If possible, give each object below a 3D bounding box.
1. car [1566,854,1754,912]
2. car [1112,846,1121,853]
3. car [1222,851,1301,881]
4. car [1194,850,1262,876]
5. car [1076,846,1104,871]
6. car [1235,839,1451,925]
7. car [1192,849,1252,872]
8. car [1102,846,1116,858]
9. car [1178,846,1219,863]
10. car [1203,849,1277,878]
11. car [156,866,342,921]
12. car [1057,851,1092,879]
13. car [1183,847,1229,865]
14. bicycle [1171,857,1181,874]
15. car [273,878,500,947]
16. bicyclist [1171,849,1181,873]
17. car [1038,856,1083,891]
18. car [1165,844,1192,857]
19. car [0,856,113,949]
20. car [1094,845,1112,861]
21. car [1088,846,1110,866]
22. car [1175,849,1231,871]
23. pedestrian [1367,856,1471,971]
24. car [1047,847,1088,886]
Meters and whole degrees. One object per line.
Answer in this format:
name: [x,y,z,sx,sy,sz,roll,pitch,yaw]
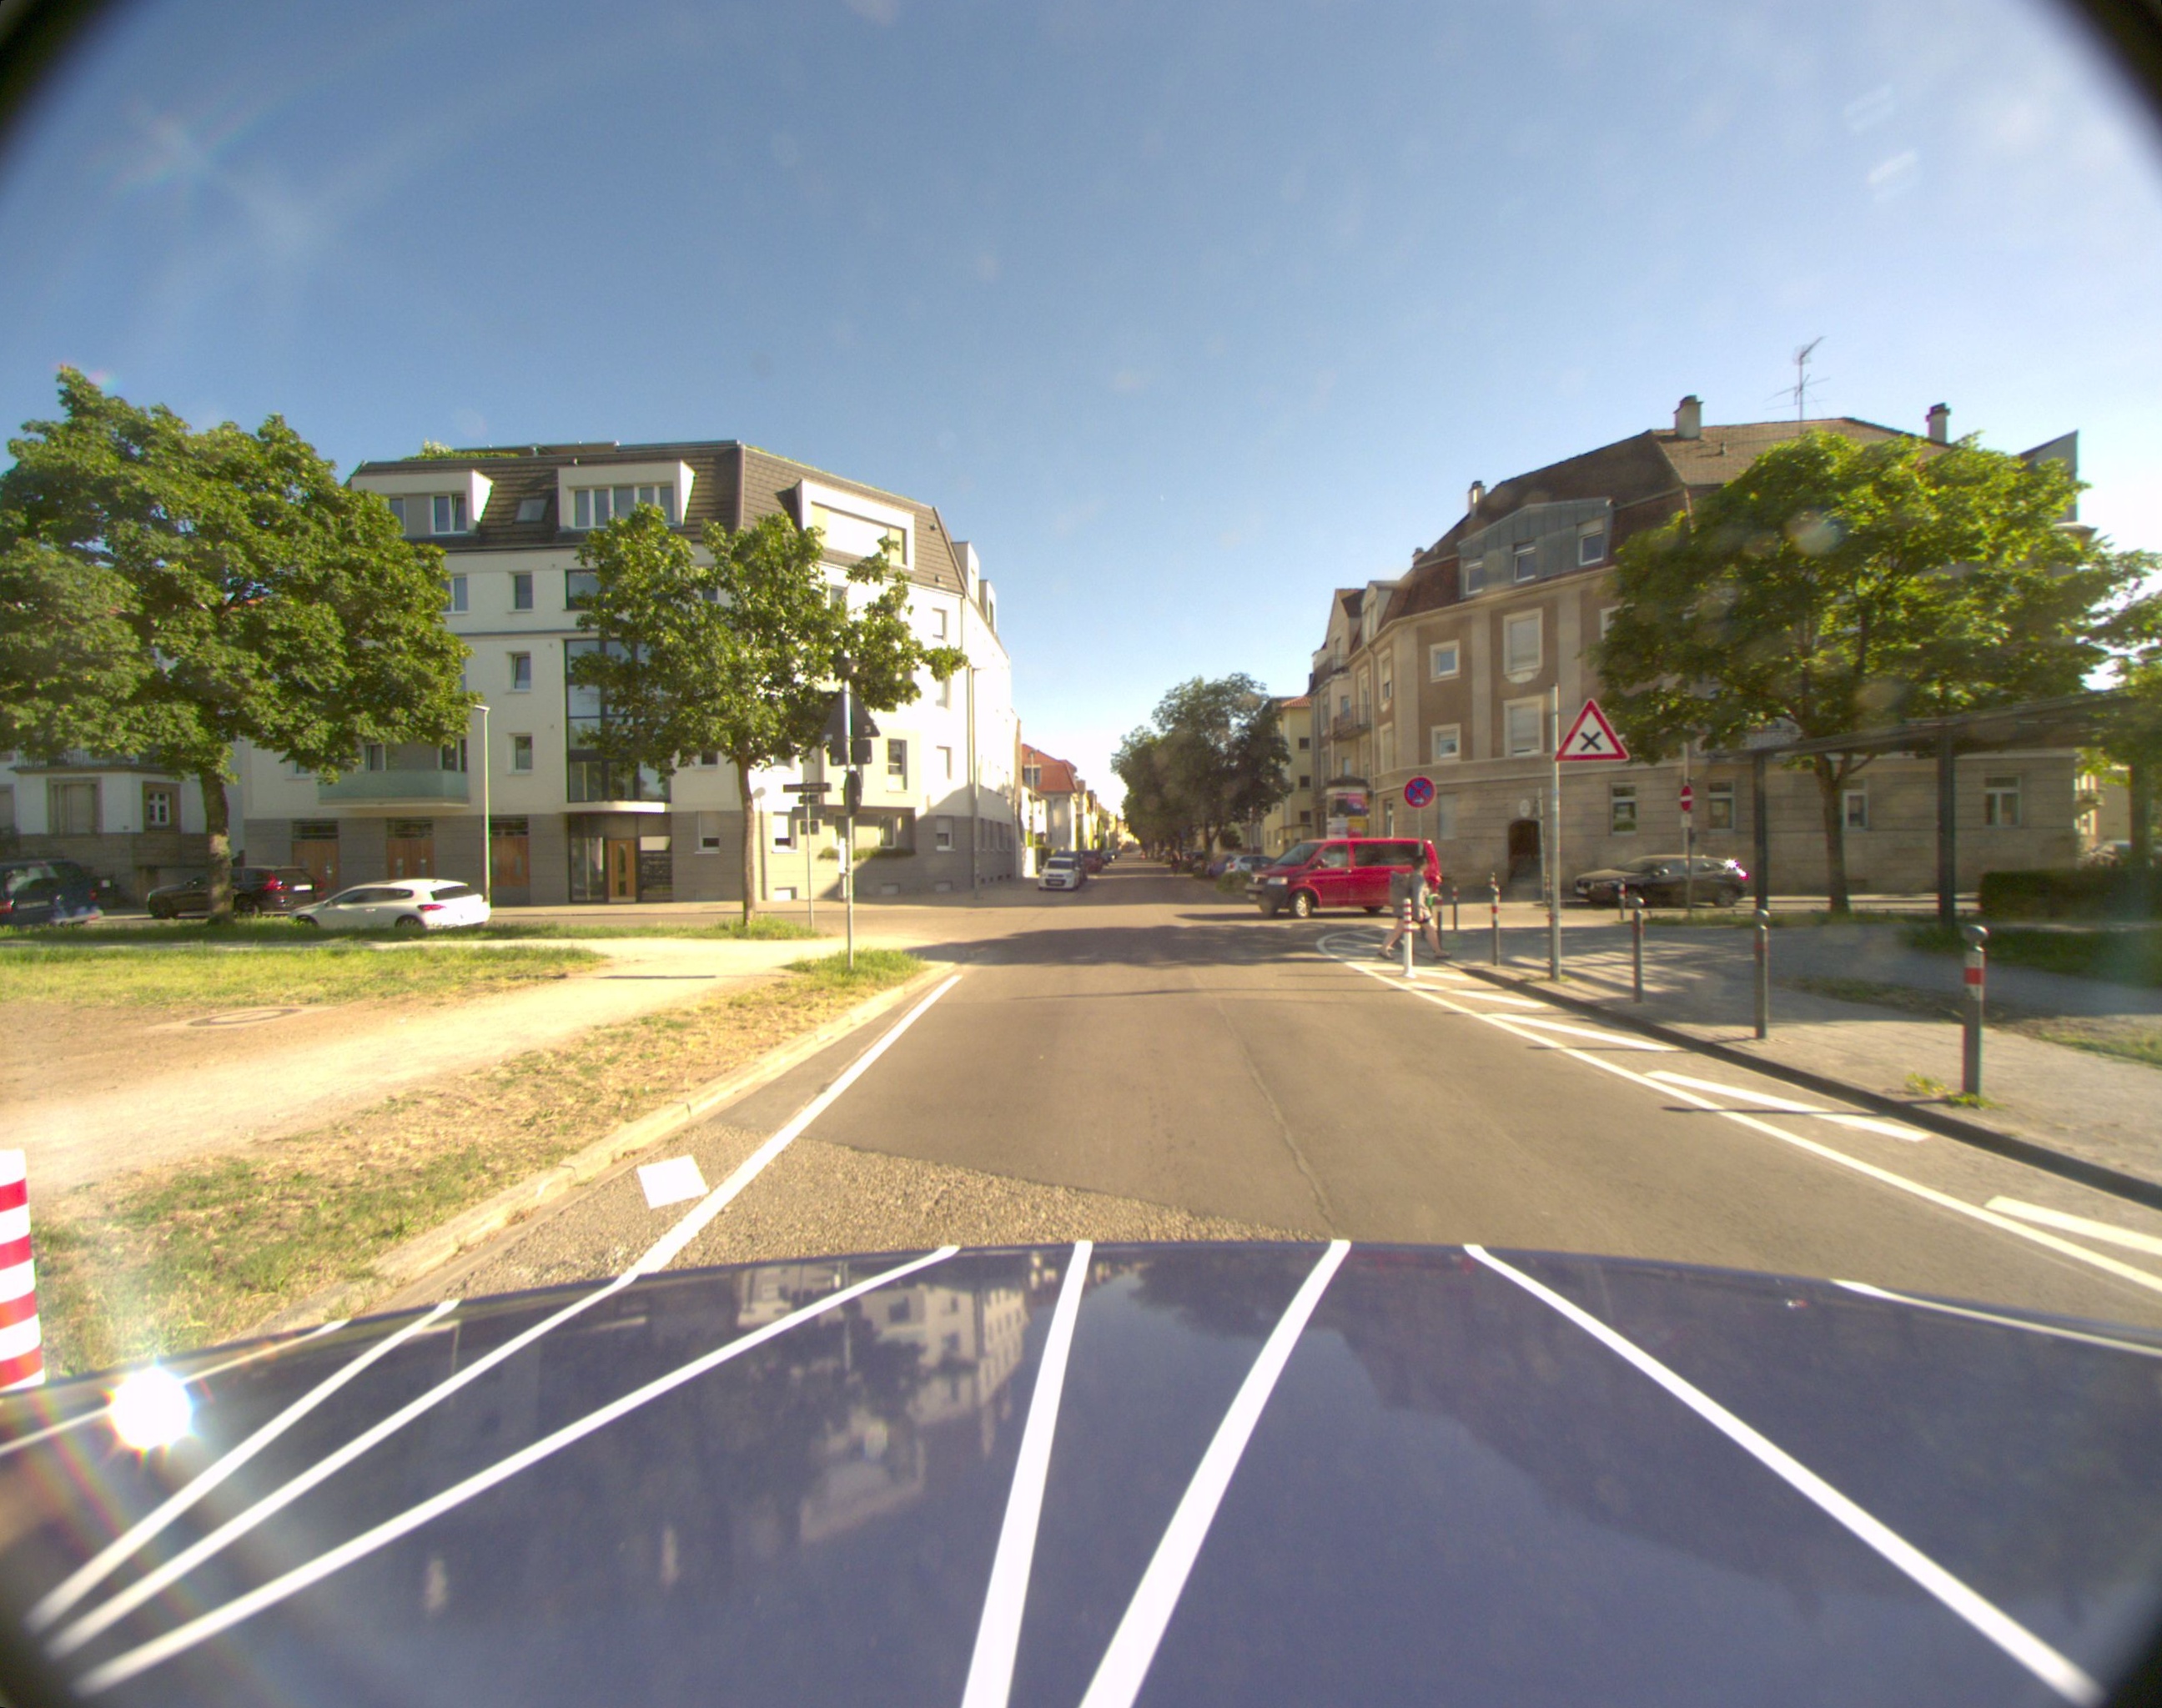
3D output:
car: [16.808,0.812,22.221,4.011,1.476,1.867,-1,4,1]
car: [7.844,-1.028,167.451,1.883,1.427,4.348,-1,0,4]
car: [9.569,0.629,40.464,3.788,1.436,1.692,-2,1,1]
car: [9.170,0.550,47.485,3.791,1.486,1.691,-2,1,-9]
car: [0.744,0.313,61.302,1.883,1.860,4.402,2,1,4]
car: [6.588,0.649,19.340,4.887,1.950,1.894,-1,2,-10]
car: [9.930,0.423,53.649,3.791,1.486,1.691,-2,1,-9]
car: [4.334,-0.327,117.118,1.883,1.734,4.403,-1,0,4]
car: [11.251,0.048,72.896,3.528,1.486,1.692,-2,1,-1]
car: [8.902,0.520,42.692,3.788,1.486,1.692,-2,1,1]
car: [-27.533,1.287,25.230,4.284,1.673,1.896,-1,2,5]
car: [-0.351,0.626,44.946,1.664,1.533,4.067,2,1,4]
car: [11.282,0.145,68.594,3.789,1.486,1.692,-2,1,-1]
bicycle: [6.398,0.767,51.224,0.644,1.102,2.066,-1,1,5]
car: [-16.944,1.411,18.675,3.990,1.426,1.739,-1,5,4]
bicyclist: [6.396,0.442,51.250,0.644,1.610,0.637,-1,1,5]
car: [-0.887,0.851,35.092,1.664,1.440,3.689,2,1,4]
car: [13.554,-0.490,105.283,3.527,1.693,1.692,-2,1,2]
car: [-27.504,1.183,19.143,3.989,2.073,1.783,-1,5,5]
car: [2.657,-0.075,90.809,1.883,1.860,4.403,-1,0,4]
car: [1.806,0.150,75.337,1.883,1.860,4.402,2,1,4]
car: [9.171,0.455,57.158,3.791,1.486,1.691,-2,1,-9]
pedestrian: [5.109,0.862,11.542,1.091,1.664,0.912,0,1,-13]
car: [-0.651,0.600,39.549,1.664,1.825,4.257,2,1,4]
